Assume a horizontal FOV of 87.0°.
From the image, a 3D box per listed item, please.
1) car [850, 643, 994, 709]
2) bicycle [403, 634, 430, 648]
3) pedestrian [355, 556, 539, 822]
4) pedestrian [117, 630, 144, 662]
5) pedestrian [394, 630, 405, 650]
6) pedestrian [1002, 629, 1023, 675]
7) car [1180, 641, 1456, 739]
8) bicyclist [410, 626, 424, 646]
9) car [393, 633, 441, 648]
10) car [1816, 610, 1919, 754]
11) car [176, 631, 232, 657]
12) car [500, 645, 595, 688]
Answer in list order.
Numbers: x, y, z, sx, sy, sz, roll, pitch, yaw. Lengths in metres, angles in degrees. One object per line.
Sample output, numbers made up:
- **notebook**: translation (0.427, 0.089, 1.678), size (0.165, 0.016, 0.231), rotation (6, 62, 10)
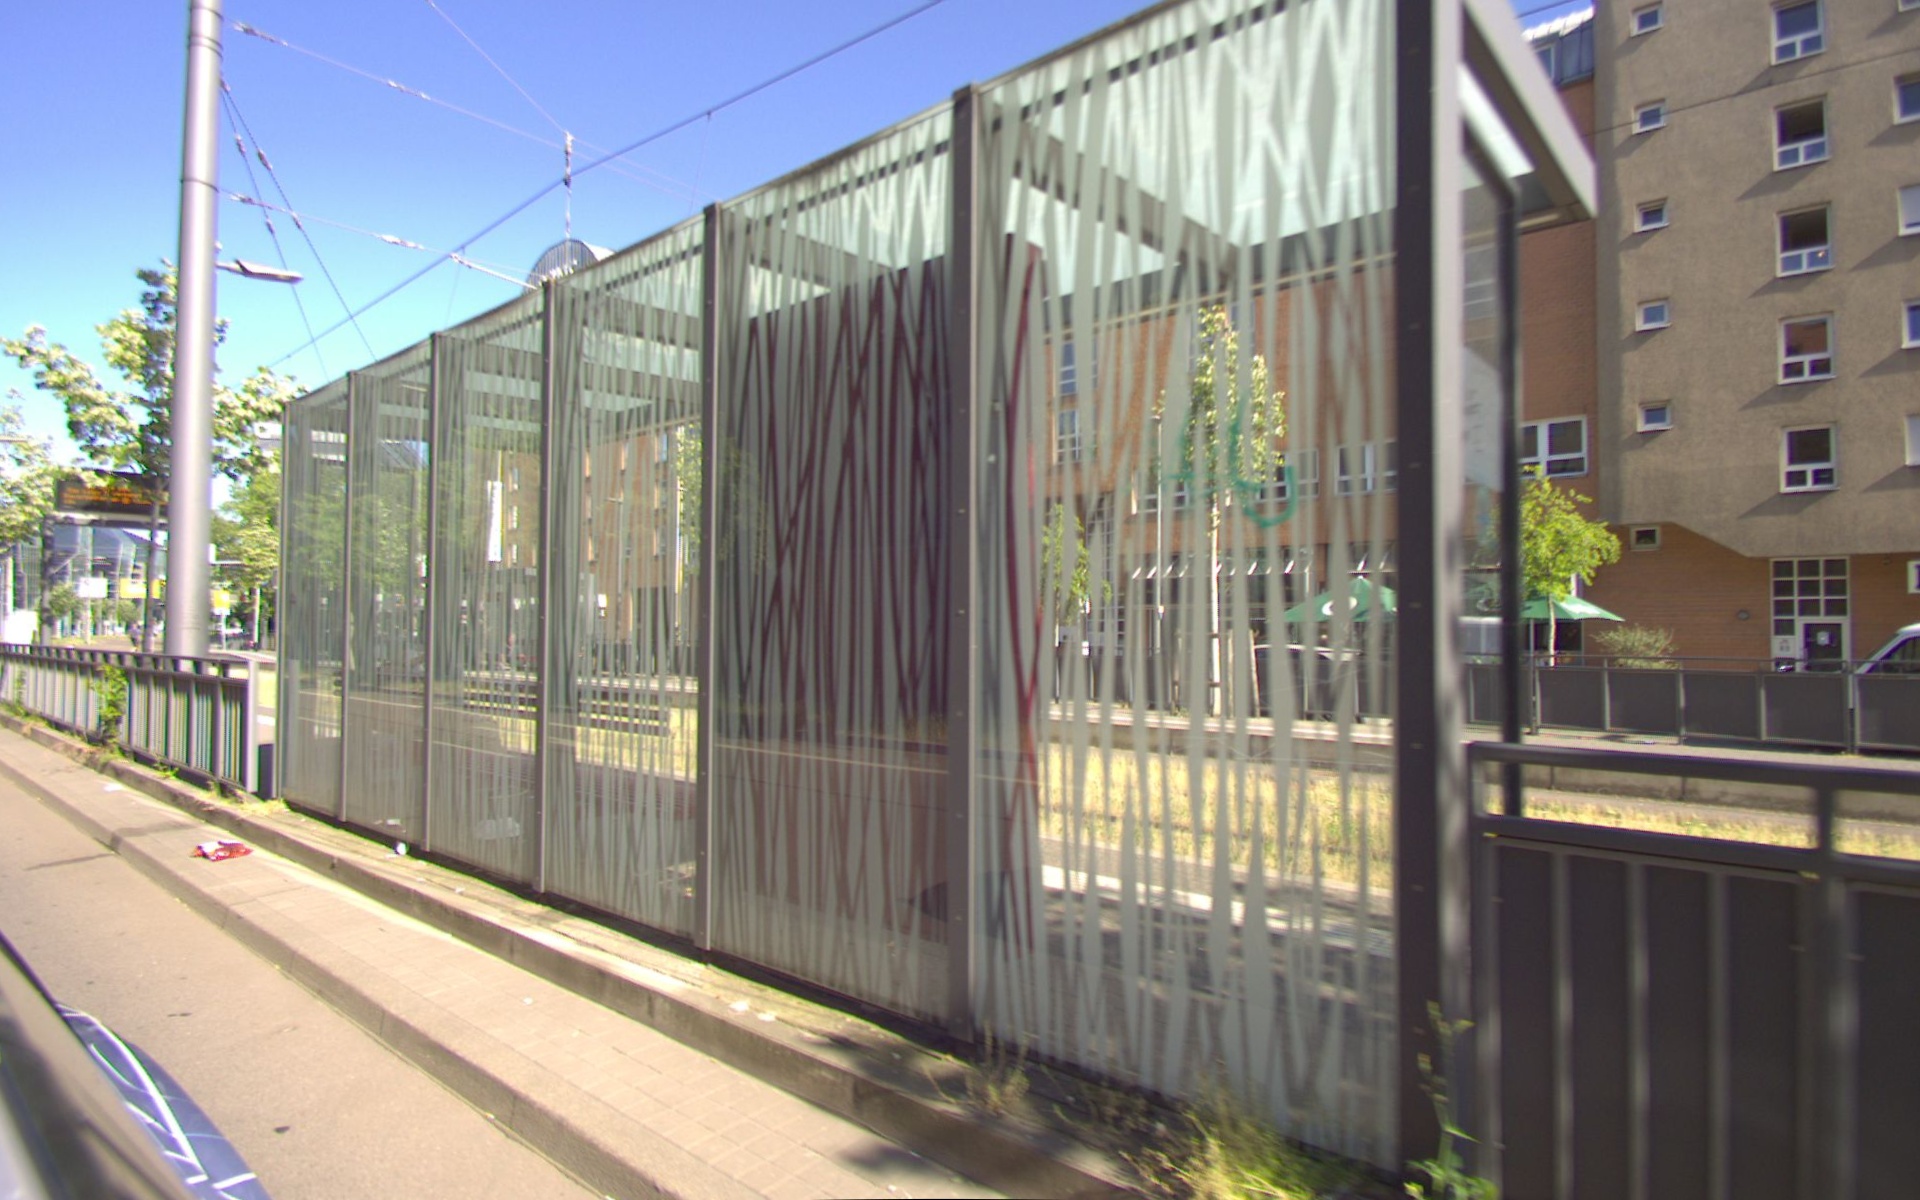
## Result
- **car**: translation (-1.160, 2.175, 29.941), size (3.998, 1.696, 1.973), rotation (-1, -1, 41)
- **bicycle**: translation (-44.713, 3.378, 83.284), size (1.812, 1.108, 0.639), rotation (2, -3, -41)
- **pedestrian**: translation (-3.274, 0.533, 6.465), size (0.798, 1.548, 0.804), rotation (-2, -3, 42)
- **pedestrian**: translation (-44.479, 2.473, 54.288), size (1.006, 1.702, 0.947), rotation (-2, -3, 42)
- **pedestrian**: translation (-47.823, 3.435, 86.394), size (0.728, 1.719, 0.637), rotation (-2, -3, 45)
- **pedestrian**: translation (2.173, 2.143, 41.677), size (0.644, 1.854, 0.614), rotation (-2, -3, 41)
- **car**: translation (5.786, 1.382, 16.603), size (3.957, 1.296, 1.677), rotation (-1, -1, 40)
- **bicyclist**: translation (-44.680, 2.947, 83.316), size (0.836, 1.652, 0.780), rotation (2, -3, -40)
- **car**: translation (-57.772, 4.305, 107.717), size (1.910, 1.519, 4.114), rotation (-2, -3, 43)
- **car**: translation (17.663, 1.336, 16.312), size (1.969, 2.388, 5.652), rotation (1, -2, -42)
- **car**: translation (-46.631, 2.682, 62.430), size (4.287, 1.510, 1.911), rotation (-1, -3, 41)
- **car**: translation (-16.483, 2.596, 40.341), size (3.997, 1.475, 1.860), rotation (-1, -1, 40)
